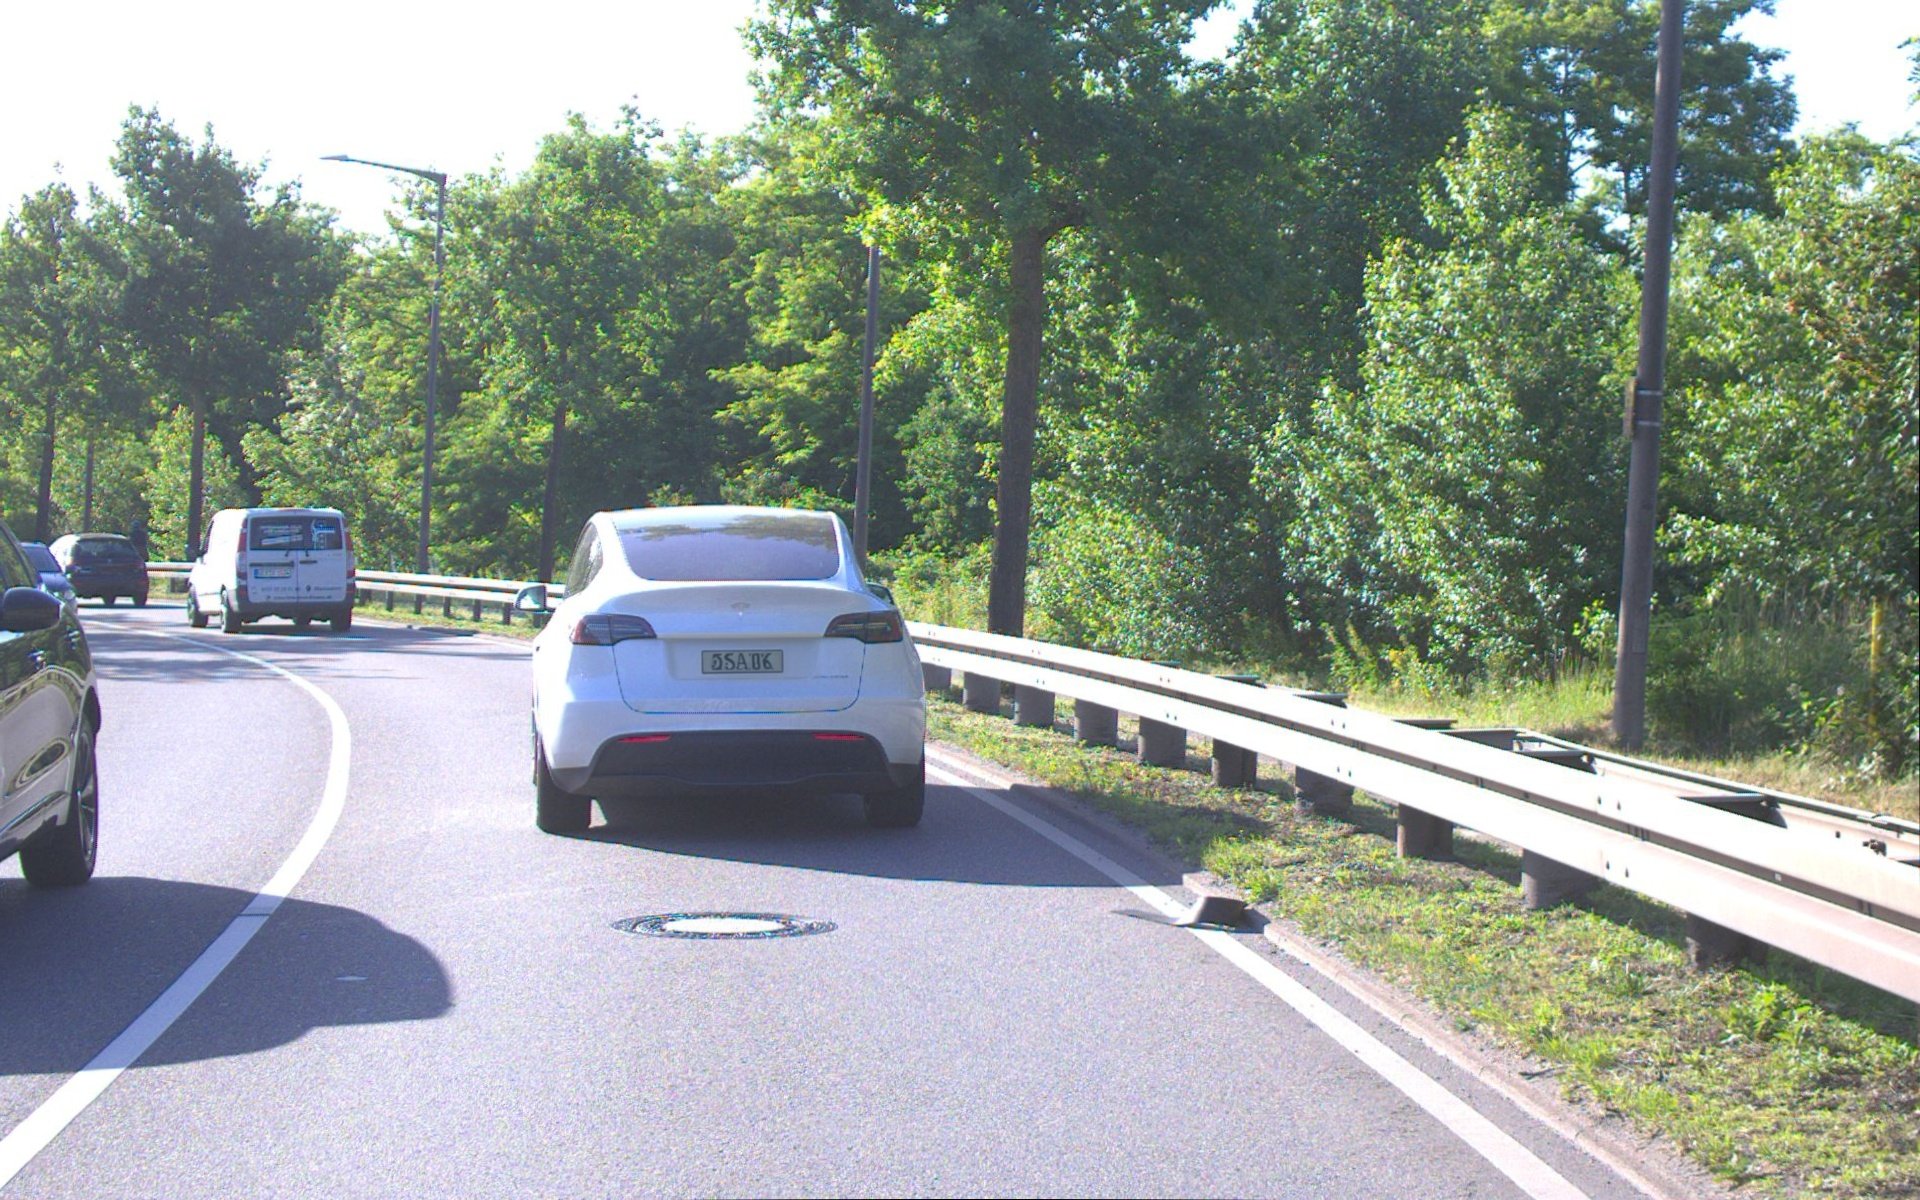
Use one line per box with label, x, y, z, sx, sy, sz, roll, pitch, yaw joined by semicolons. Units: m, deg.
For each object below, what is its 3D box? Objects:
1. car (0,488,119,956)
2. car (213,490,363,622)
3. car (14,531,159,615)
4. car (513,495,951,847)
car;-4.425;0.396;12.966;1.898;1.637;4.465;0;2;-7
car;-10.393;-0.715;52.959;2.004;1.934;4.469;0;2;-14
car;-17.304;-0.565;67.993;1.859;1.579;3.915;-1;2;-29
car;-1.317;0.284;18.044;1.985;1.632;4.064;0;1;-8
